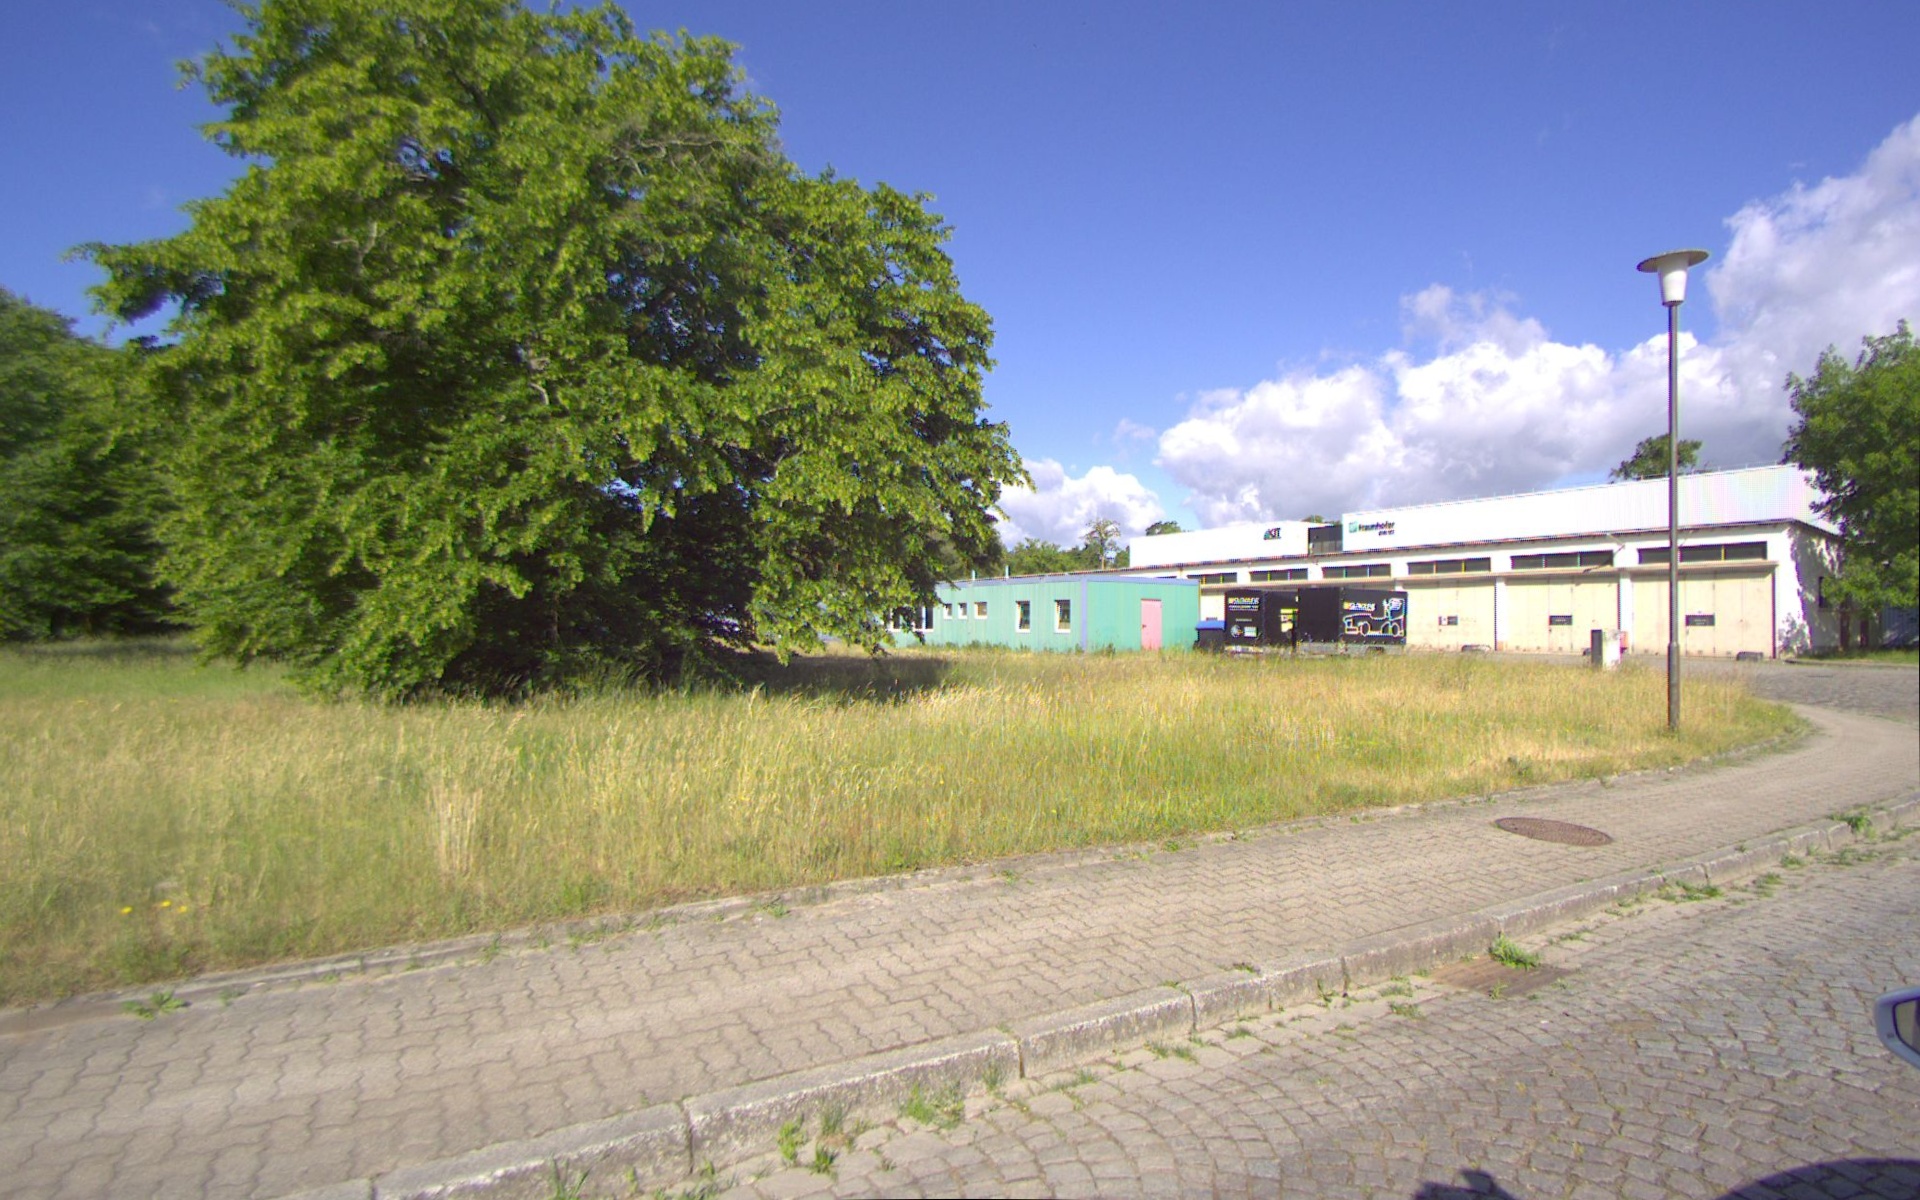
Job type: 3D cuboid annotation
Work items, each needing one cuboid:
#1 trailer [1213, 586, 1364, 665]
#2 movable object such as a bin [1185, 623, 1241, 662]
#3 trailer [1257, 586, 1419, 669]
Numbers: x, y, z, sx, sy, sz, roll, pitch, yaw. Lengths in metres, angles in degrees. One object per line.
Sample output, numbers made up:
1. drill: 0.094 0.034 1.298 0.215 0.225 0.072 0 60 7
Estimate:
1. trailer: 10.622 0.839 32.391 4.924 2.386 2.076 1 -2 -34
2. movable object such as a bin: 9.438 1.570 37.457 1.376 1.404 1.517 2 -2 -42
3. trailer: 11.375 0.833 30.149 4.614 2.328 2.121 1 -2 -30
